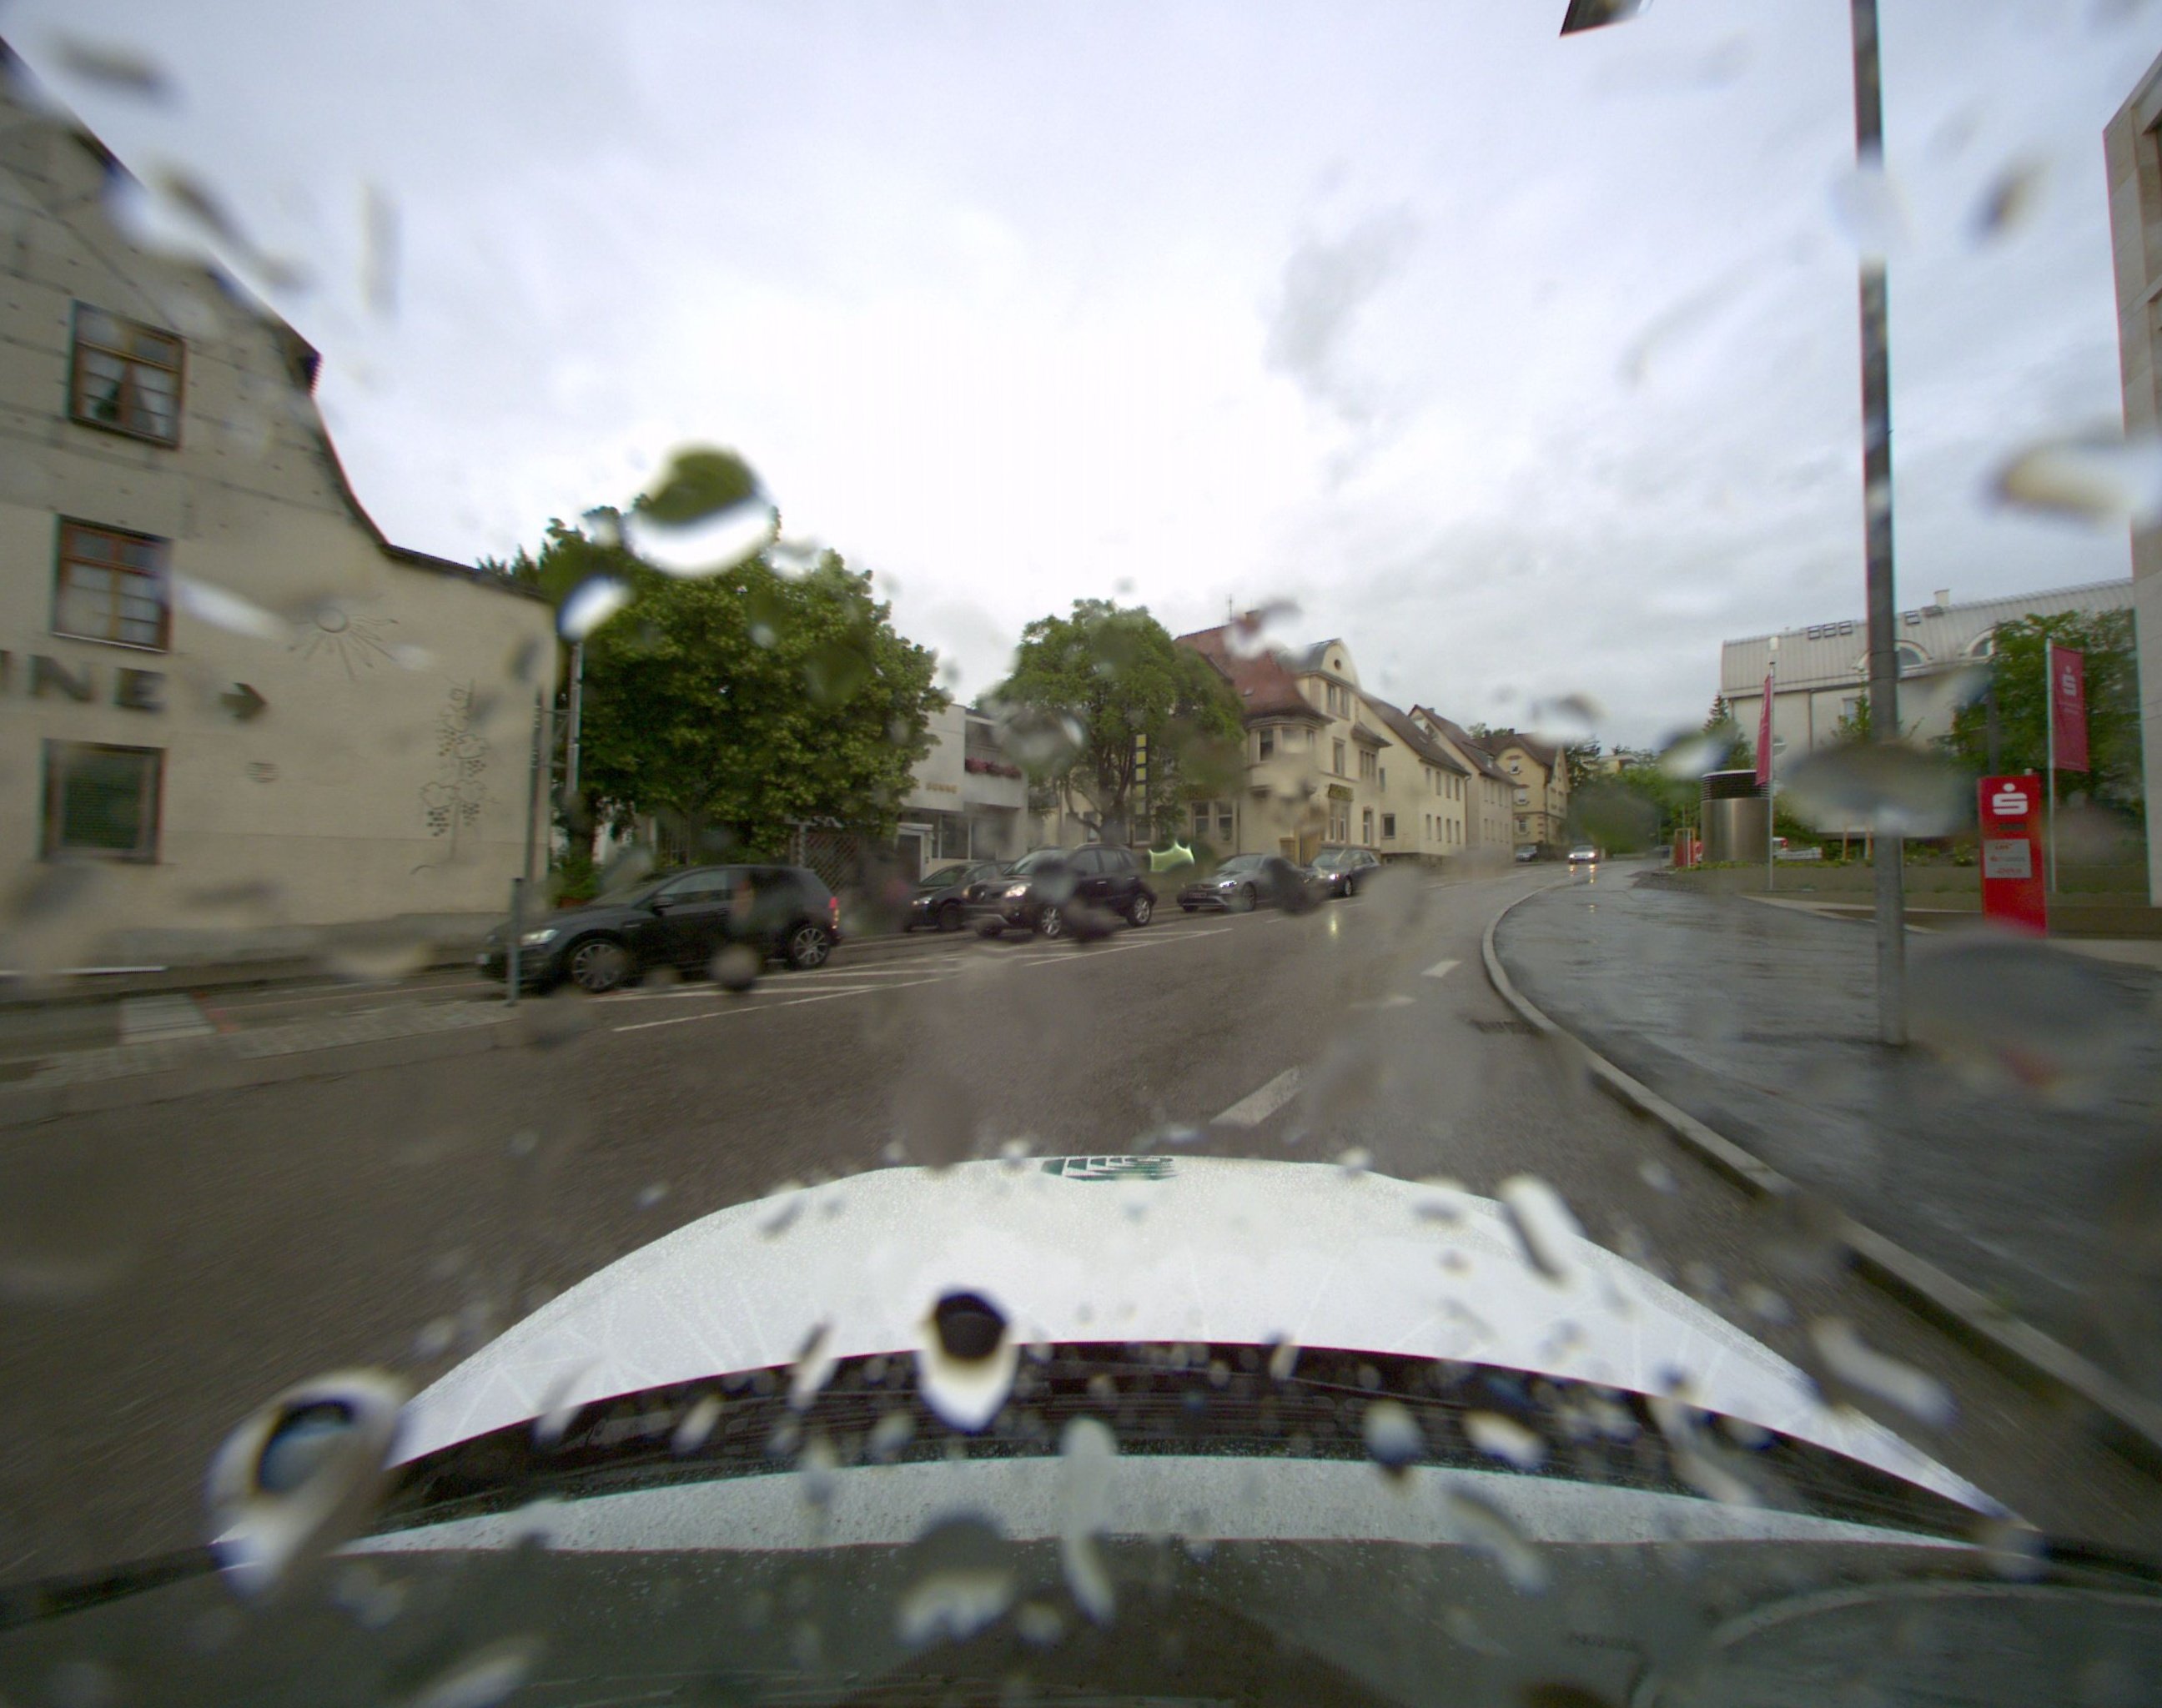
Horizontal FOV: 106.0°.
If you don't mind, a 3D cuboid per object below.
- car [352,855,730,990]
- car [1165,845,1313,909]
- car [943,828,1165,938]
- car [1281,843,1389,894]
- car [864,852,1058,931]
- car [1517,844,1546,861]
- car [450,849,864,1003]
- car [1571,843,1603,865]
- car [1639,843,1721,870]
[{"bbox_3d":[-7.586,0.848,11.801,1.756,1.518,4.212,-3,-1,40],"label":"car"},{"bbox_3d":[4.268,0.557,21.430,1.756,1.452,4.568,-3,-1,40],"label":"car"},{"bbox_3d":[-0.373,0.485,15.746,1.756,1.815,4.343,-3,-1,40],"label":"car"},{"bbox_3d":[8.257,0.443,26.244,1.756,1.452,4.212,-3,-1,40],"label":"car"},{"bbox_3d":[-2.610,0.792,18.568,1.756,1.518,4.212,-3,-1,40],"label":"car"},{"bbox_3d":[41.426,-0.138,74.856,1.674,1.453,3.252,0,1,42],"label":"car"},{"bbox_3d":[-5.162,0.754,10.457,1.755,1.504,4.343,-3,-1,39],"label":"car"},{"bbox_3d":[39.358,-0.008,63.339,1.613,1.598,3.252,0,1,42],"label":"car"},{"bbox_3d":[30.319,0.109,41.246,3.191,1.288,1.706,0,1,42],"label":"car"}]
